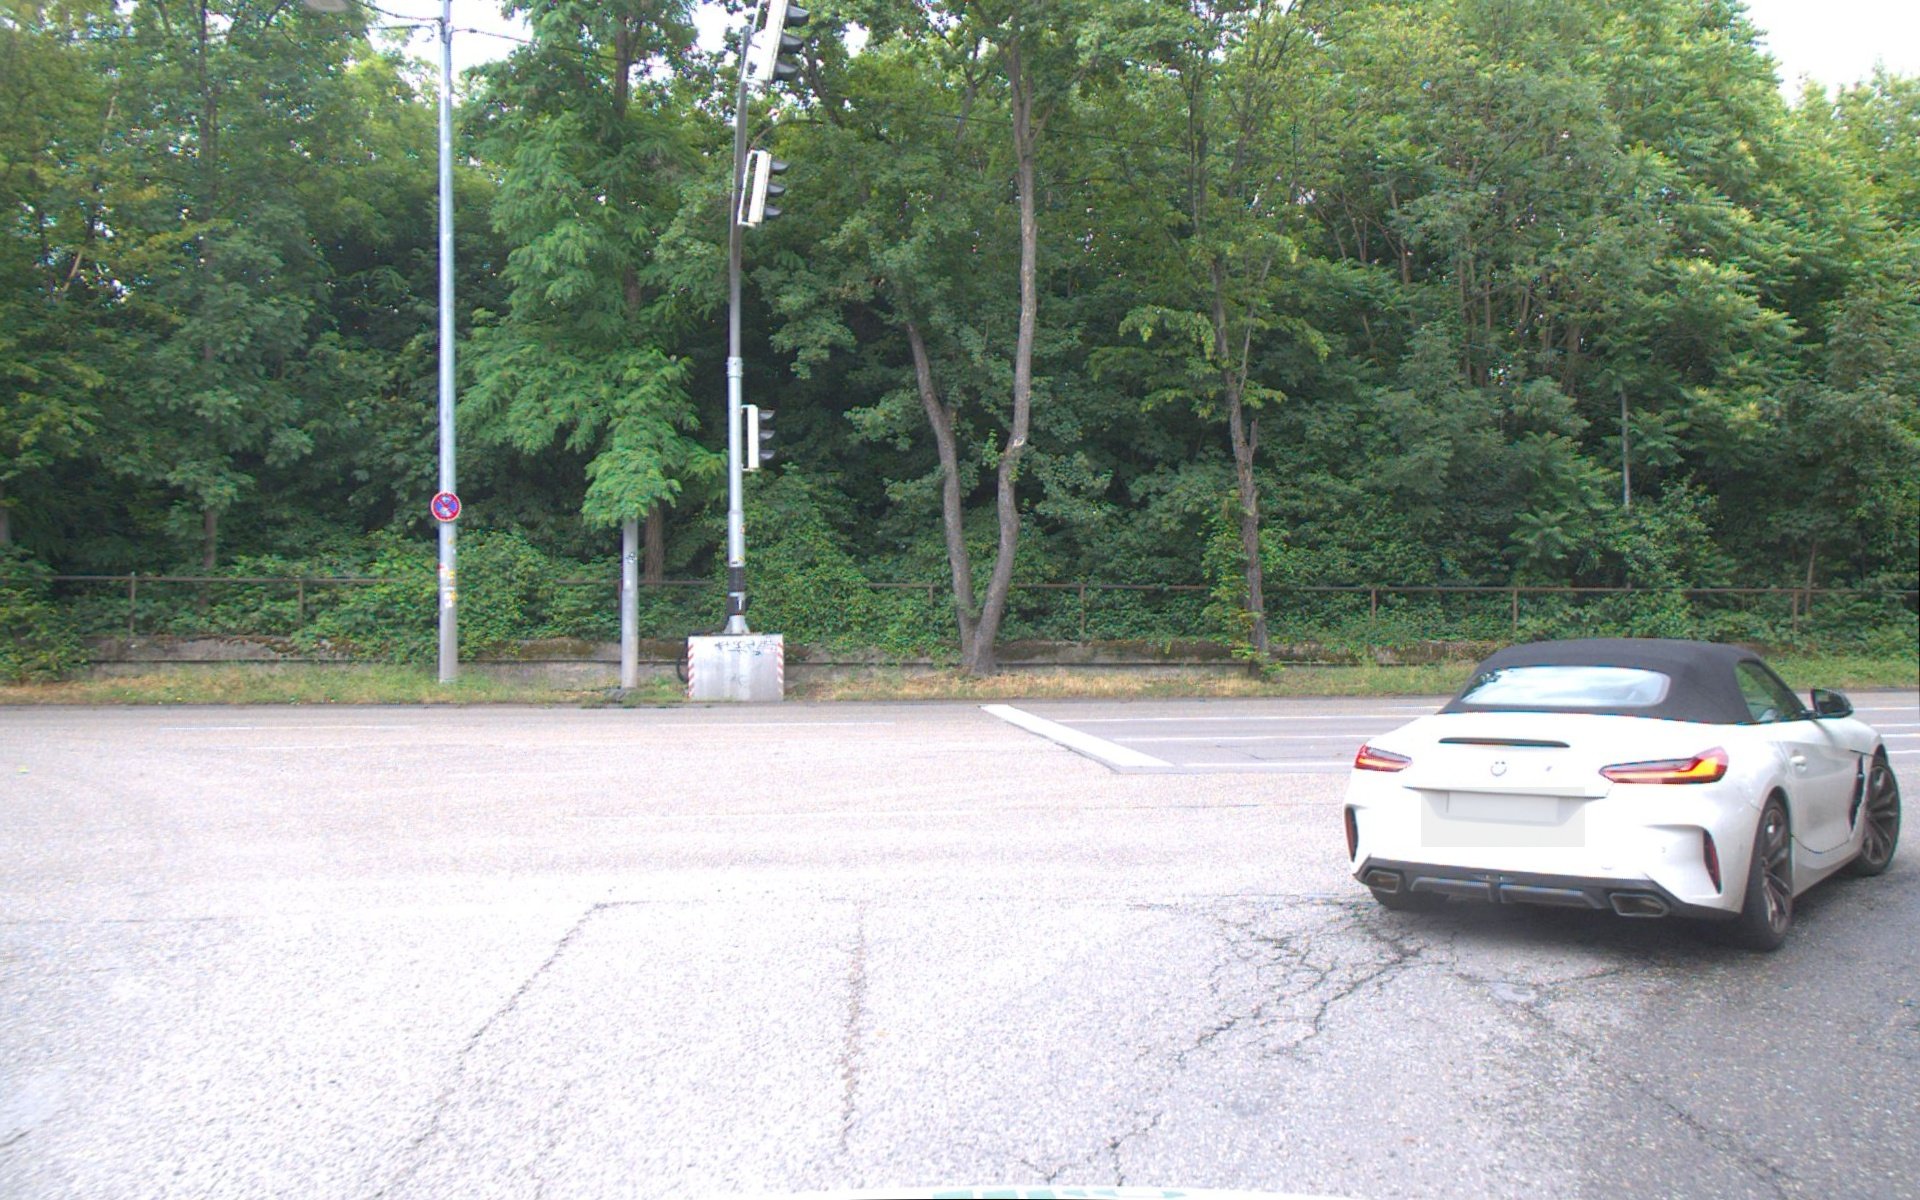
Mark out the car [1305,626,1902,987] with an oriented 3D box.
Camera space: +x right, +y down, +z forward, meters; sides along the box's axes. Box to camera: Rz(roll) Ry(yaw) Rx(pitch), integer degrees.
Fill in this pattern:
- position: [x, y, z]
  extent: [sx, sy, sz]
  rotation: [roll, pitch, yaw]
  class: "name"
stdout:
- position: [3.440, 0.824, 8.397]
  extent: [1.844, 1.332, 3.856]
  rotation: [-1, -1, 37]
  class: "car"
